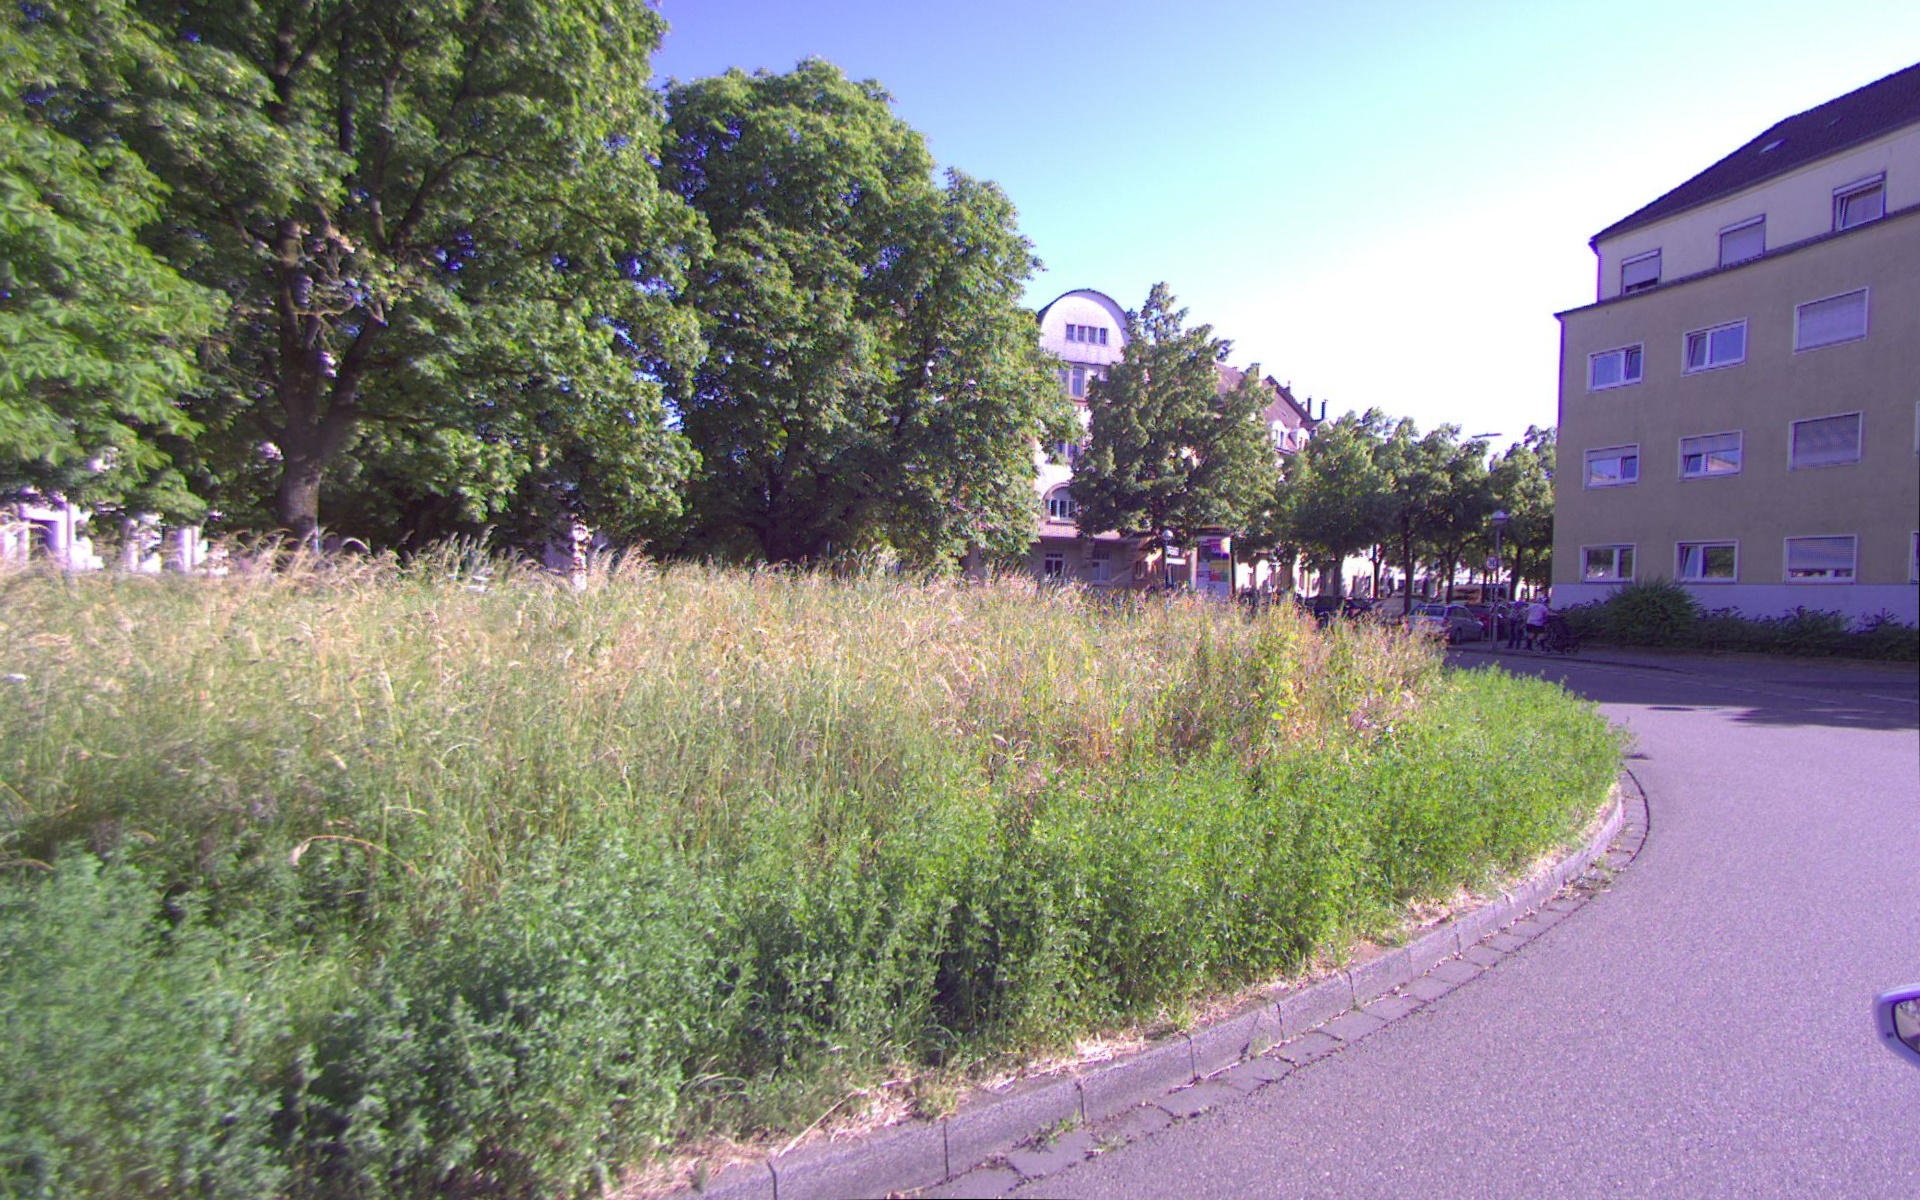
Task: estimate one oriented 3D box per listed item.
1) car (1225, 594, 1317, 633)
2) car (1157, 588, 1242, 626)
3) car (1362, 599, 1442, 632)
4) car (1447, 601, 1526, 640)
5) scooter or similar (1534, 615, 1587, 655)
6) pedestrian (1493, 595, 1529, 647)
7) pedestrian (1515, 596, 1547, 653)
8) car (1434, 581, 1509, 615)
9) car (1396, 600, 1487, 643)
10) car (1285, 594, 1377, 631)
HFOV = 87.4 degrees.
[{"bbox_3d":[13.781,0.581,44.662,1.714,1.567,3.652,2,0,-32],"label":"car"},{"bbox_3d":[10.827,0.291,45.585,1.712,1.567,3.656,2,0,-29],"label":"car"},{"bbox_3d":[24.300,0.837,55.307,1.717,1.658,3.645,2,0,-37],"label":"car"},{"bbox_3d":[21.176,0.832,40.324,1.711,1.458,4.363,2,0,43],"label":"car"},{"bbox_3d":[16.253,0.930,27.184,0.887,1.036,0.911,0,0,-27],"label":"scooter or similar"},{"bbox_3d":[16.373,0.619,29.861,0.813,1.544,0.694,0,0,40],"label":"pedestrian"},{"bbox_3d":[15.799,0.676,27.801,0.641,1.544,0.693,0,0,43],"label":"pedestrian"},{"bbox_3d":[32.991,-0.143,64.965,2.135,2.014,4.190,2,0,-12],"label":"car"},{"bbox_3d":[17.582,0.777,36.559,1.708,1.430,4.464,2,1,43],"label":"car"},{"bbox_3d":[17.276,0.552,46.857,1.717,1.567,3.645,2,0,-37],"label":"car"}]
